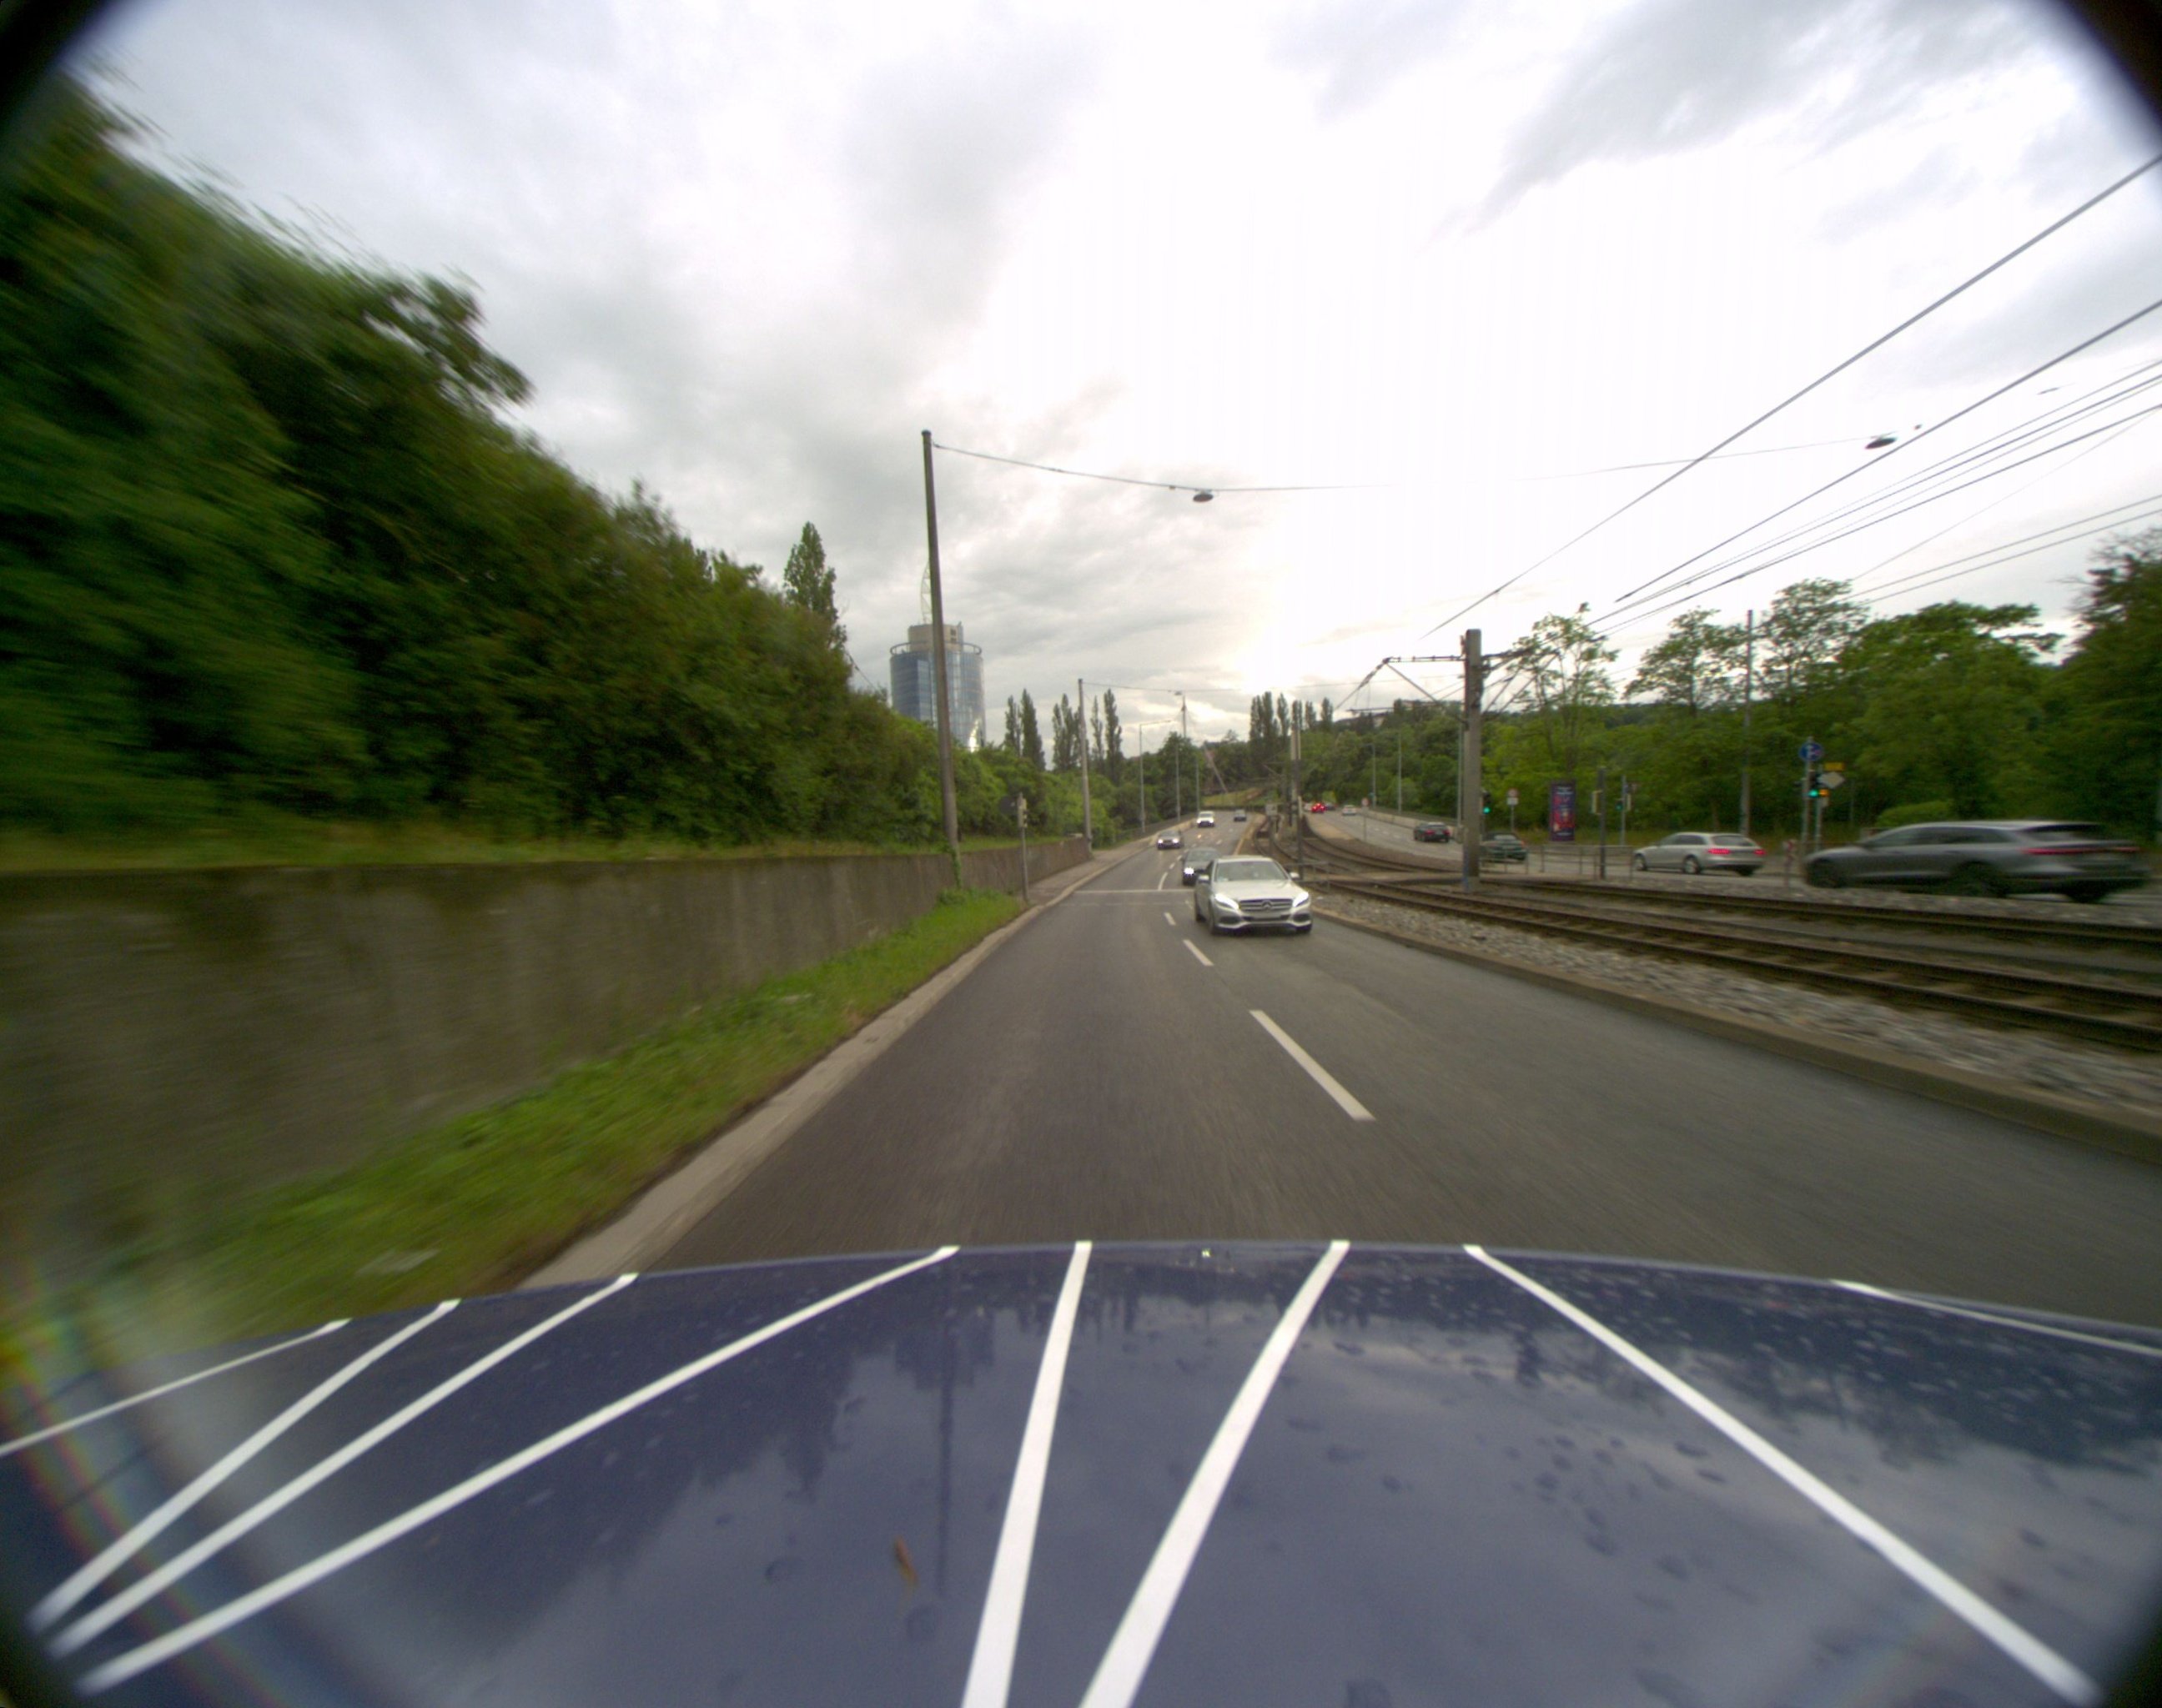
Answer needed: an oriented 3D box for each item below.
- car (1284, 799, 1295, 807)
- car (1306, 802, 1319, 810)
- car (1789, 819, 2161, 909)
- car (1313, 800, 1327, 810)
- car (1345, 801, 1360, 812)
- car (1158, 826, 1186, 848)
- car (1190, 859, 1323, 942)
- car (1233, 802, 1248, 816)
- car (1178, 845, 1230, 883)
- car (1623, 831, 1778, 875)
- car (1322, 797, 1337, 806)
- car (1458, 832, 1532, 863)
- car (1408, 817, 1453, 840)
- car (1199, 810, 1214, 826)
[{"bbox_3d":[45.382,-11.057,165.175,1.604,1.486,3.015,-1,6,3],"label":"car"},{"bbox_3d":[43.172,-8.959,141.815,1.733,1.430,4.491,0,6,11],"label":"car"},{"bbox_3d":[16.741,0.152,14.615,1.865,1.430,4.856,0,0,3],"label":"car"},{"bbox_3d":[40.472,-8.290,128.925,1.851,1.589,4.733,0,4,12],"label":"car"},{"bbox_3d":[40.587,-7.133,113.716,1.823,1.507,4.530,-1,5,16],"label":"car"},{"bbox_3d":[6.980,-1.339,58.213,1.766,1.493,4.001,-2,3,11],"label":"car"},{"bbox_3d":[3.328,0.818,15.185,1.871,1.348,4.060,-1,0,3],"label":"car"},{"bbox_3d":[22.592,-6.302,107.640,1.766,1.806,4.001,-2,2,10],"label":"car"},{"bbox_3d":[5.091,0.379,31.876,1.735,1.344,4.000,-2,2,4],"label":"car"},{"bbox_3d":[21.207,-0.060,26.319,1.823,1.372,4.706,-1,1,4],"label":"car"},{"bbox_3d":[46.344,-9.762,141.586,1.972,1.589,5.185,0,4,11],"label":"car"},{"bbox_3d":[19.518,-0.347,36.012,1.636,1.377,3.895,0,2,5],"label":"car"},{"bbox_3d":[26.040,-1.940,56.798,1.719,1.451,4.274,-2,4,5],"label":"car"},{"bbox_3d":[15.510,-4.445,93.660,1.766,1.806,4.002,-2,1,10],"label":"car"}]
